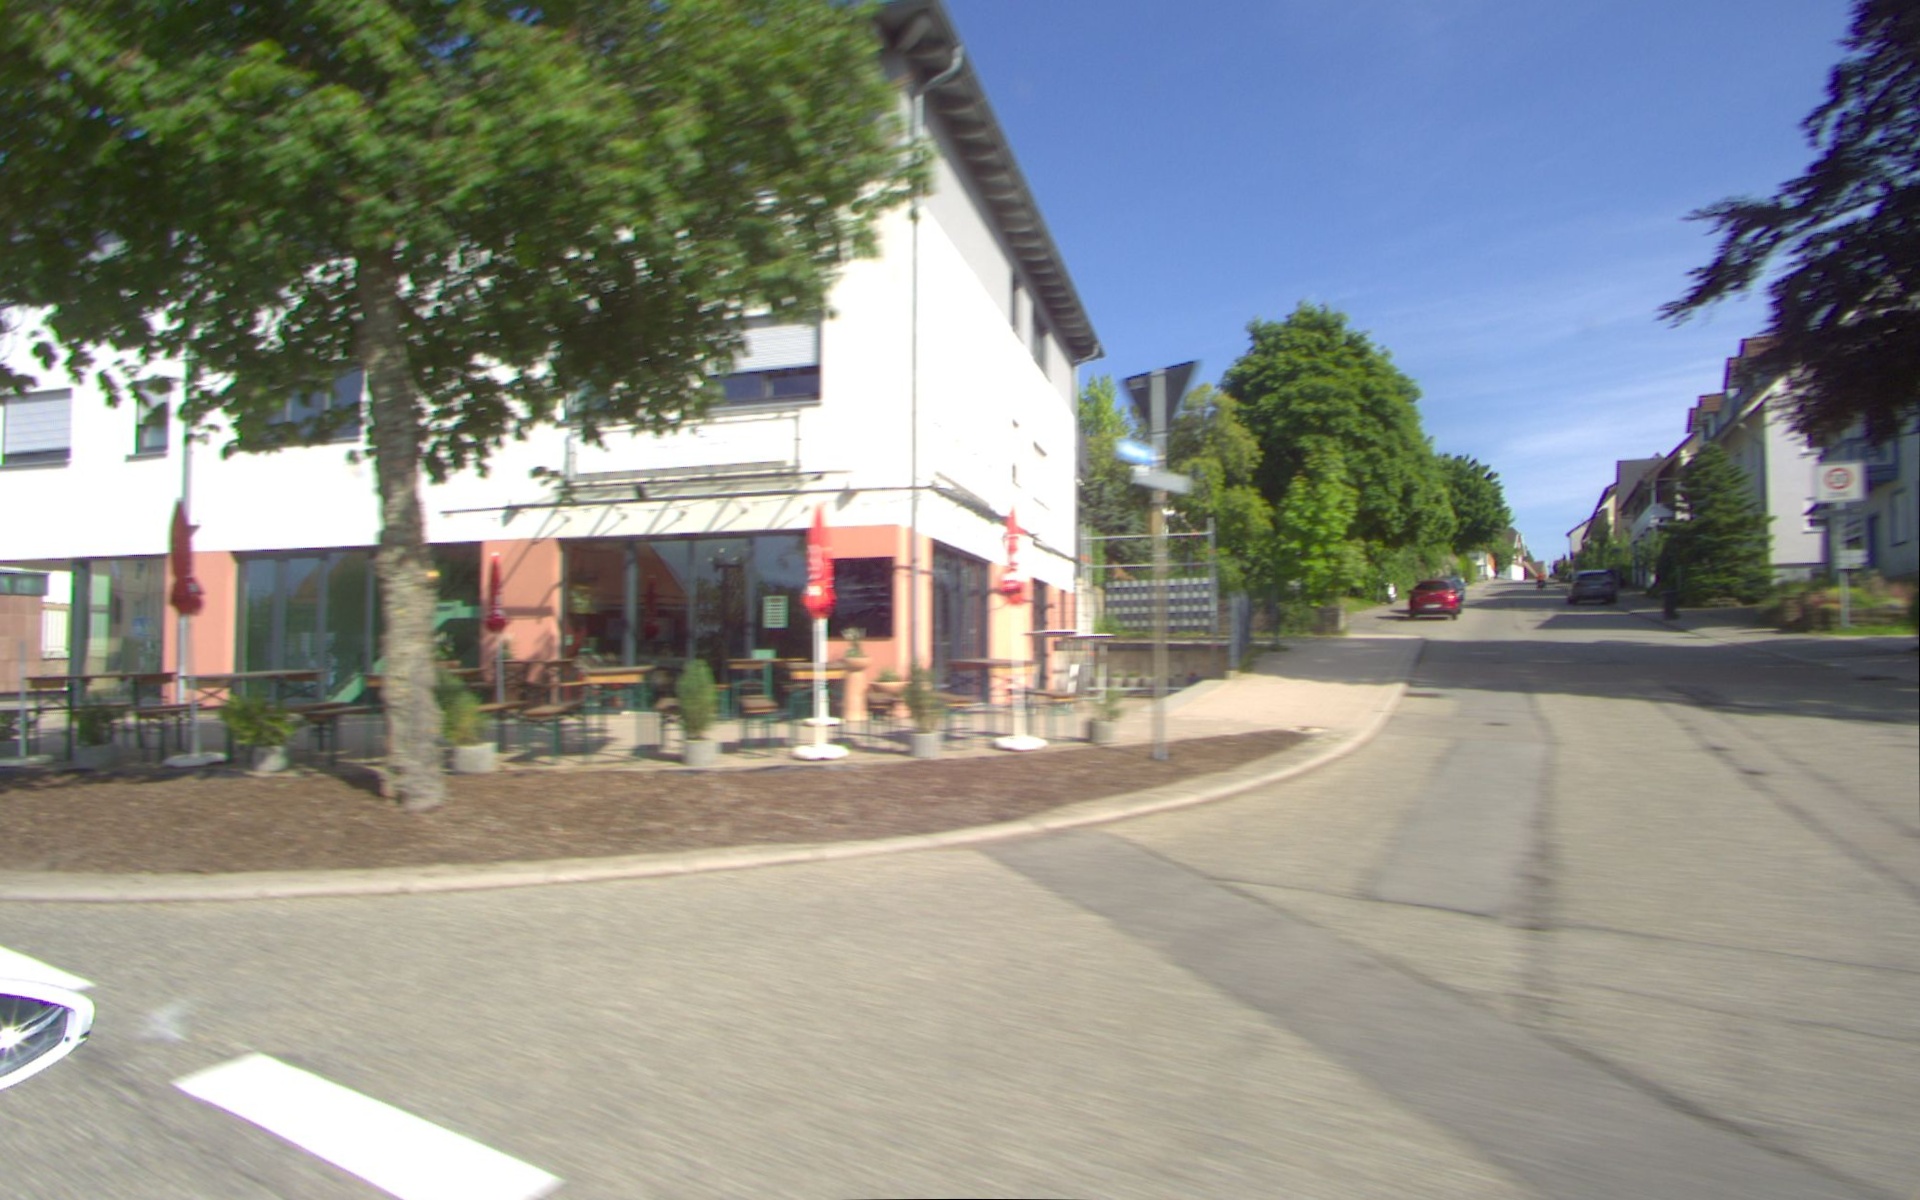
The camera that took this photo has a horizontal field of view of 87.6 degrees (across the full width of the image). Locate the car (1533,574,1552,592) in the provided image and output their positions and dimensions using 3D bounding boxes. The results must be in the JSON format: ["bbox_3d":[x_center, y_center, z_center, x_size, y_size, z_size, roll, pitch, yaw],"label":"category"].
[{"bbox_3d":[49.388,-1.445,84.911,1.349,1.468,2.767,1,0,29],"label":"car"}]

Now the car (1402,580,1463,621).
[{"bbox_3d":[17.820,0.000,37.710,1.715,1.483,3.253,0,1,32],"label":"car"}]

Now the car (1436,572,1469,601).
[{"bbox_3d":[29.225,-0.809,59.460,1.696,1.640,3.916,0,0,26],"label":"car"}]

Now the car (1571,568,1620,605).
[{"bbox_3d":[31.331,-0.663,49.429,1.971,1.762,3.978,0,1,32],"label":"car"}]
